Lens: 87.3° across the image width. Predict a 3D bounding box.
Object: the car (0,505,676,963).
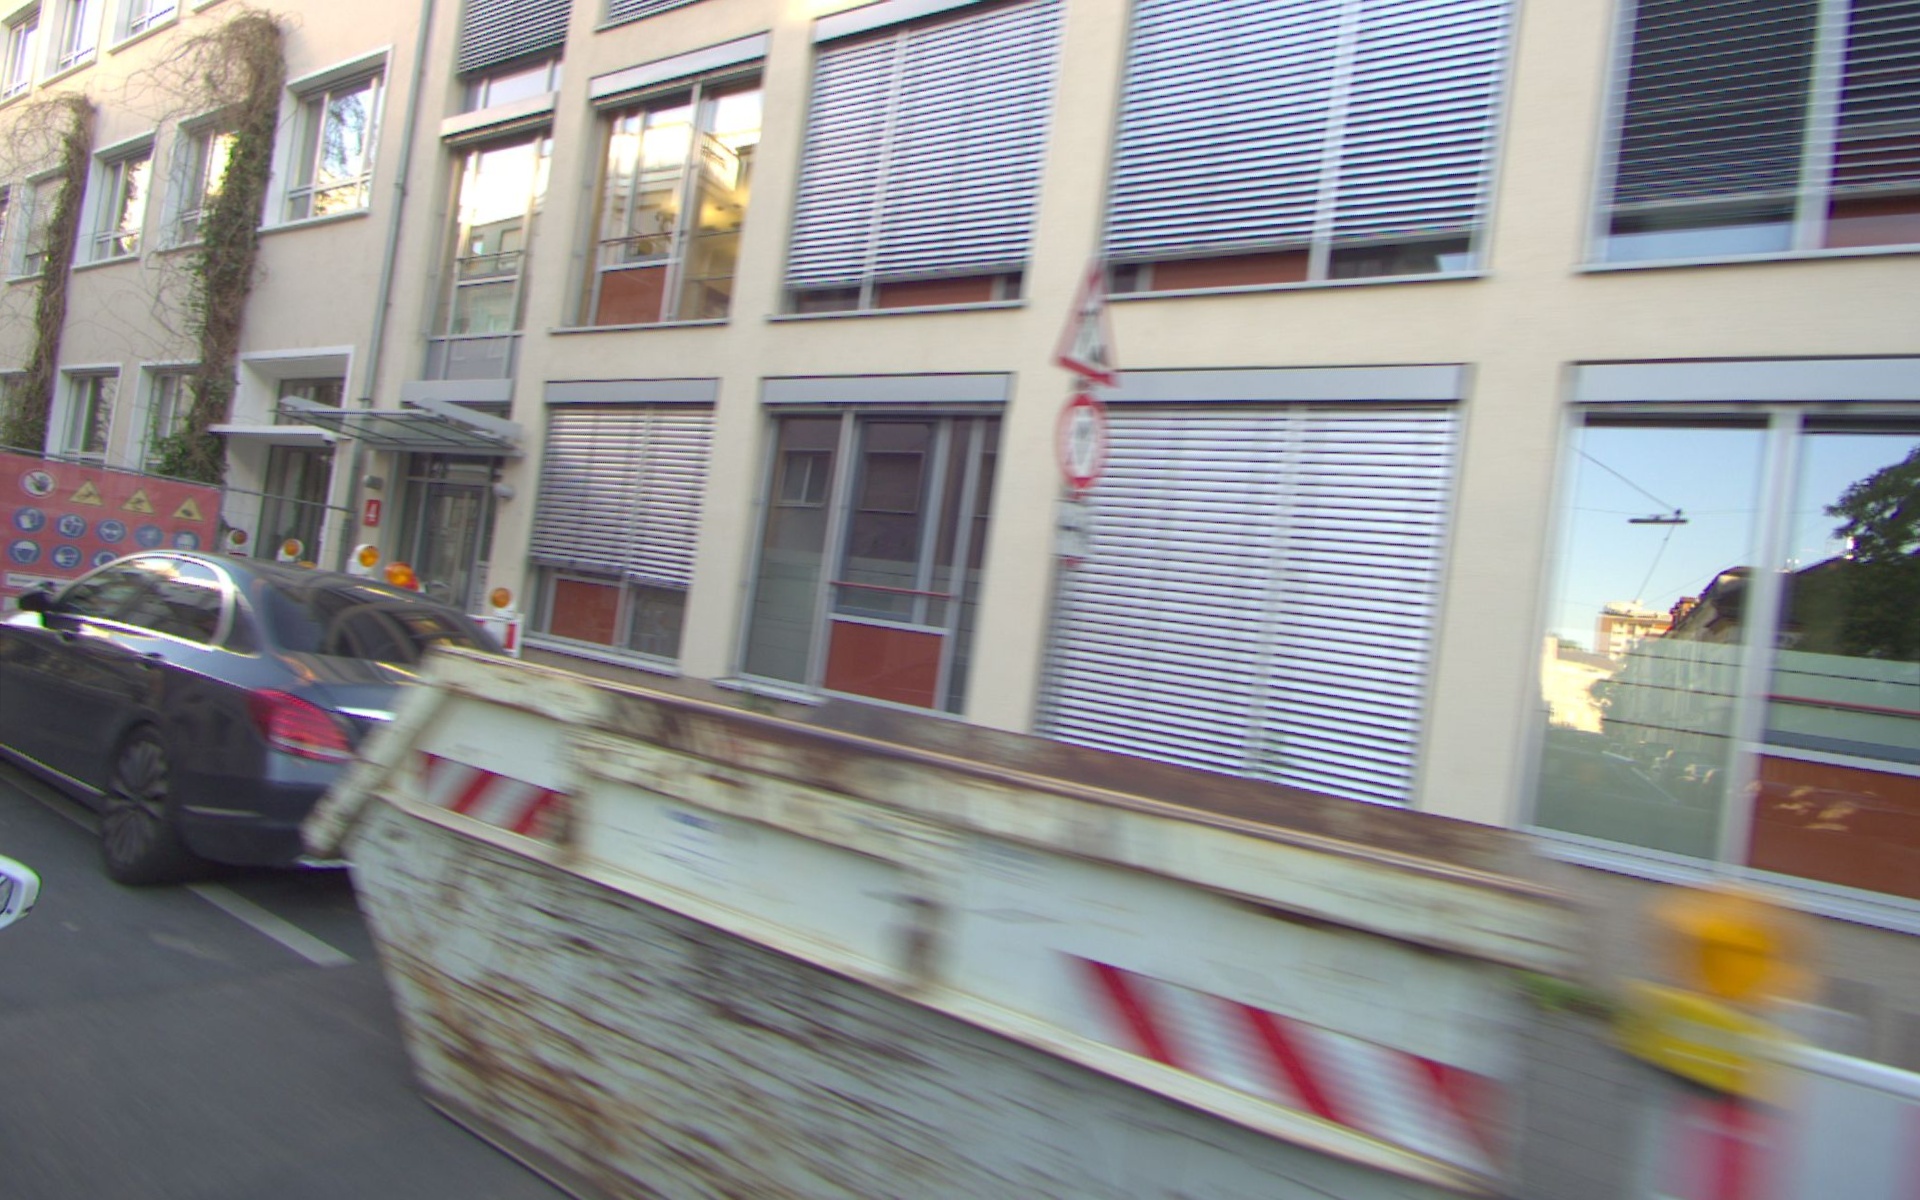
[{"bbox_3d":[-3.863,0.471,5.524,4.372,1.486,1.793,7,-4,32],"label":"car"}]
